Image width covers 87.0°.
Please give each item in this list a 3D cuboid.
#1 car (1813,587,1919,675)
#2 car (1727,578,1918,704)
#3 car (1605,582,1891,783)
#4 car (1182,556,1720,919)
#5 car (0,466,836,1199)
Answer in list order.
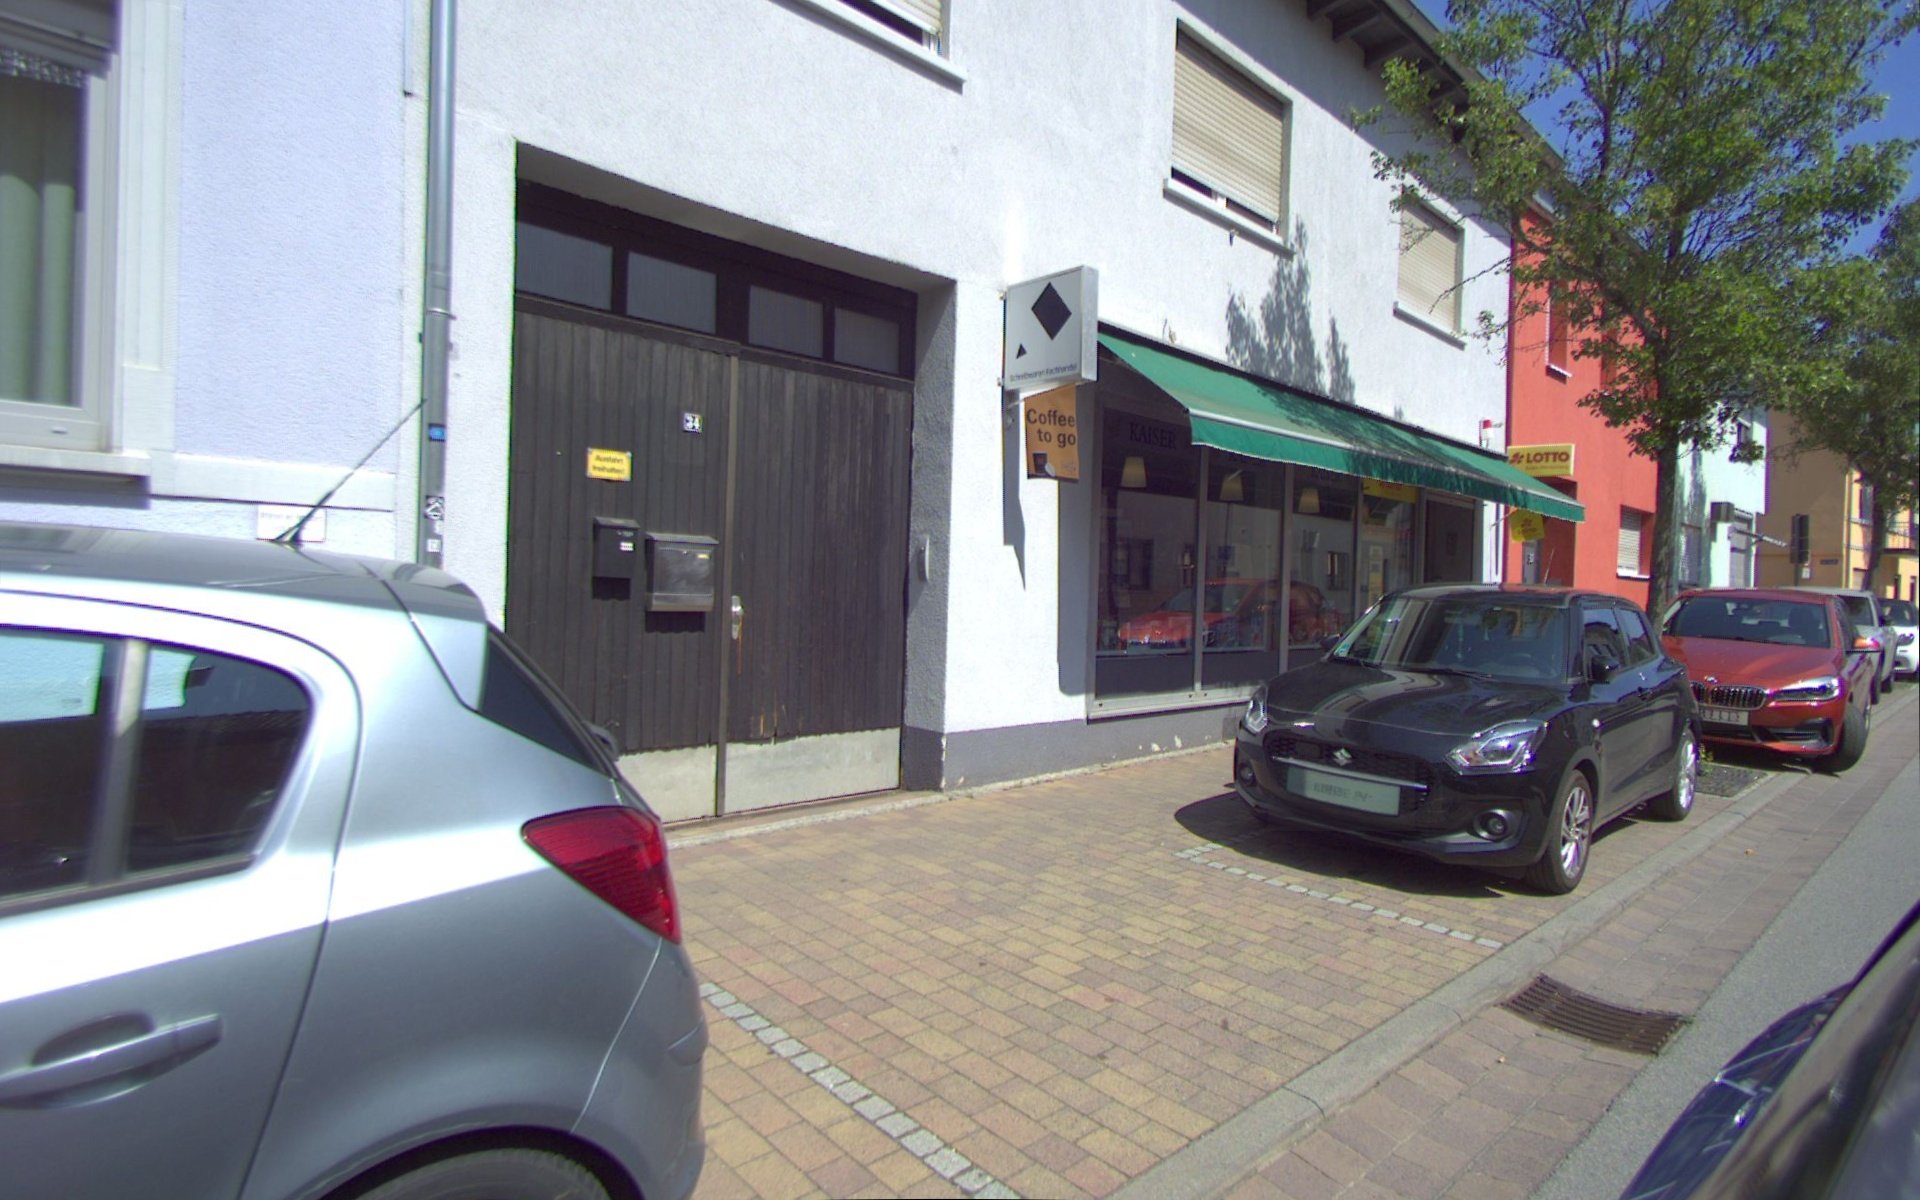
[{"bbox_3d":[18.506,0.575,20.253,3.930,1.562,1.713,0,1,-43],"label":"car"},{"bbox_3d":[13.784,0.536,16.069,4.585,1.706,1.868,-1,0,-44],"label":"car"},{"bbox_3d":[8.031,0.633,10.166,1.830,1.608,4.023,0,1,44],"label":"car"},{"bbox_3d":[3.155,0.552,6.167,3.672,1.532,1.739,0,1,-43],"label":"car"},{"bbox_3d":[-2.302,0.574,1.132,4.025,1.499,1.720,0,2,-41],"label":"car"}]
